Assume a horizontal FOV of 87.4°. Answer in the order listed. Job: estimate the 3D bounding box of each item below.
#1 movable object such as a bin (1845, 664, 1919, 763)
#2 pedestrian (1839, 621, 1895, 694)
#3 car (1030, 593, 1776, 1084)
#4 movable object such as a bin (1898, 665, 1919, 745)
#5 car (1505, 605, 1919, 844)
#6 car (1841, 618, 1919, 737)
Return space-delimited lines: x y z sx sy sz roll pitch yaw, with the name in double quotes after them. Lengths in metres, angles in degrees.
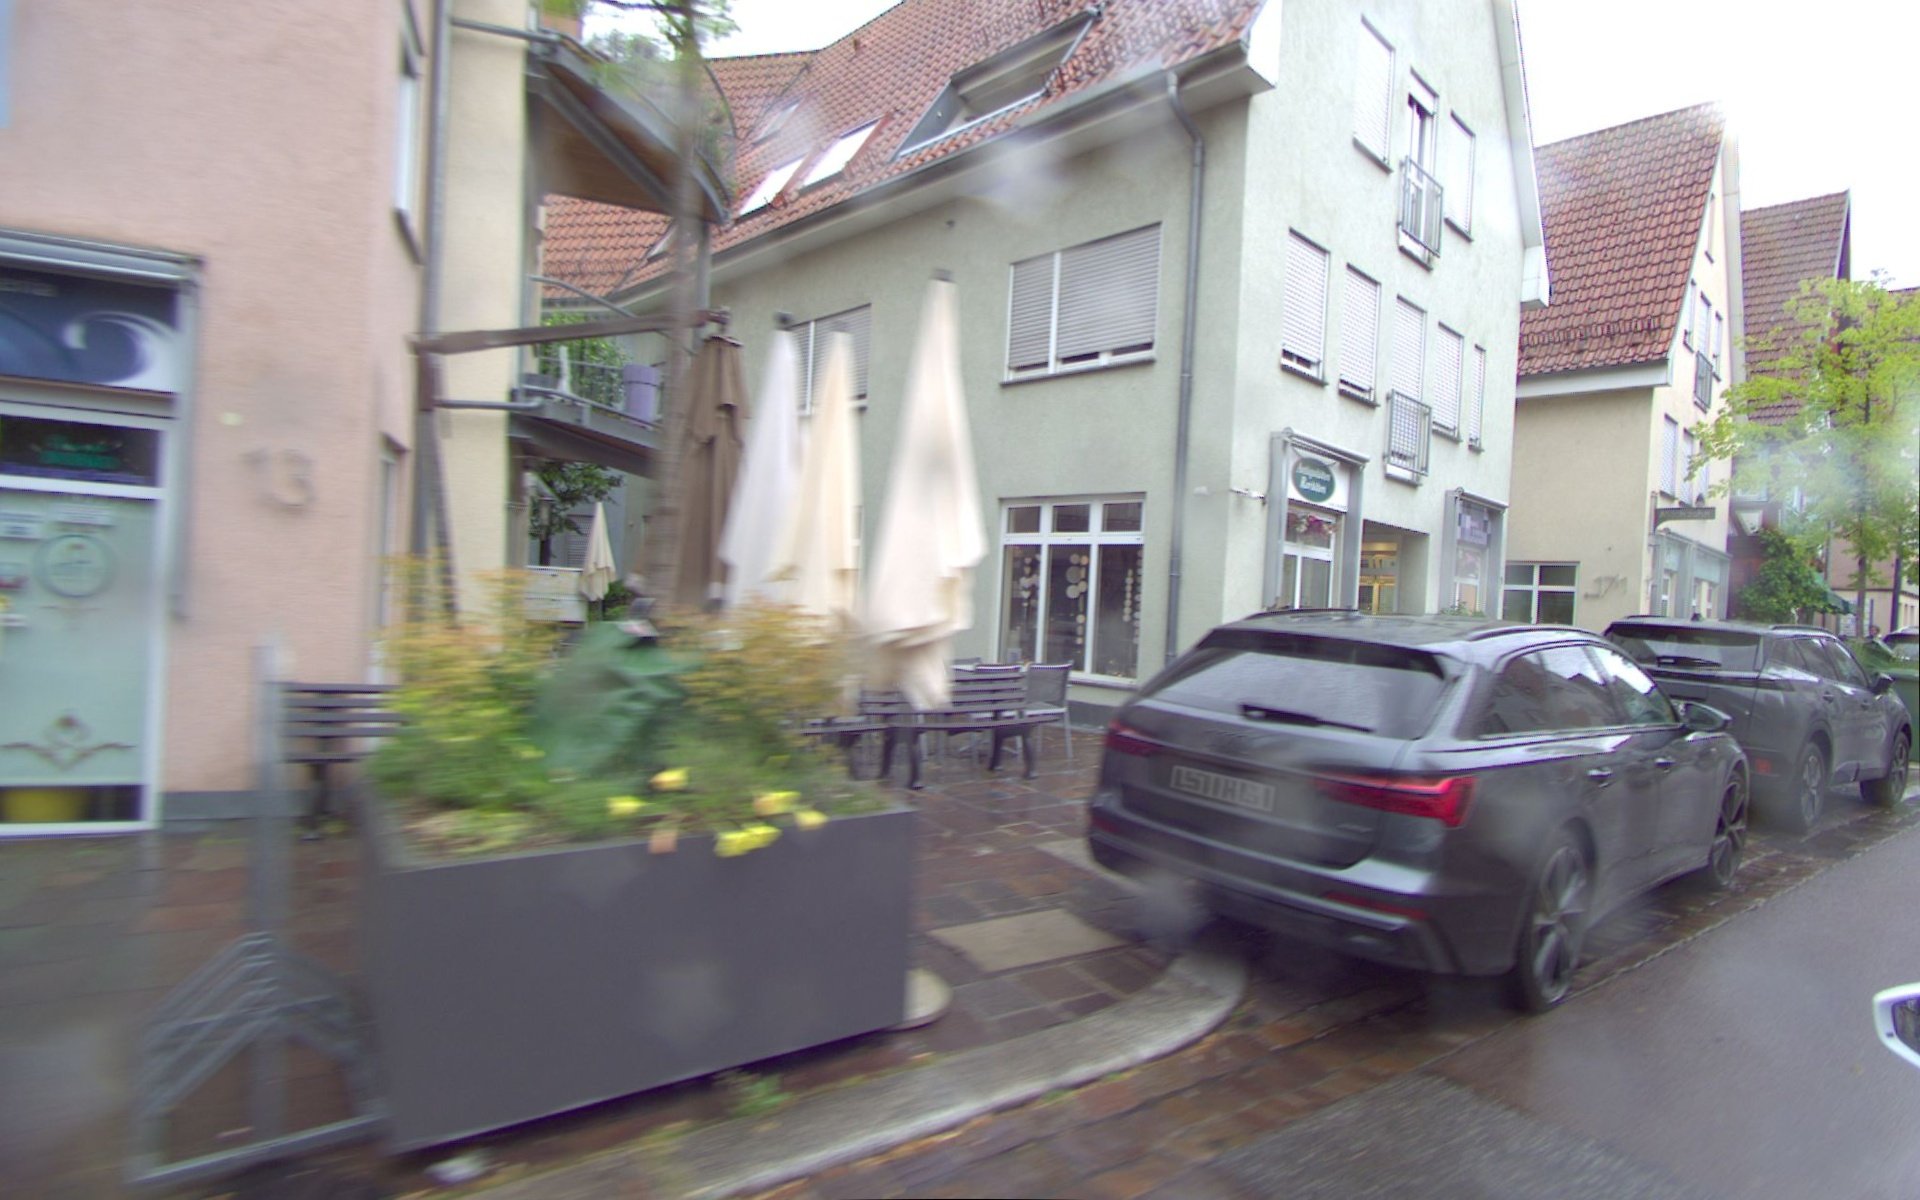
11.395 1.371 12.250 0.738 1.097 0.740 4 0 -40 "movable object such as a bin"
22.259 1.412 24.641 1.167 1.703 0.781 4 0 -40 "pedestrian"
2.647 0.796 5.314 4.584 1.461 1.845 2 1 -42 "car"
13.235 1.449 13.695 0.531 1.060 0.546 4 0 -41 "movable object such as a bin"
6.872 0.941 8.988 4.288 1.545 1.848 3 2 -37 "car"
15.877 1.306 16.007 4.601 1.688 1.810 5 0 -37 "car"
